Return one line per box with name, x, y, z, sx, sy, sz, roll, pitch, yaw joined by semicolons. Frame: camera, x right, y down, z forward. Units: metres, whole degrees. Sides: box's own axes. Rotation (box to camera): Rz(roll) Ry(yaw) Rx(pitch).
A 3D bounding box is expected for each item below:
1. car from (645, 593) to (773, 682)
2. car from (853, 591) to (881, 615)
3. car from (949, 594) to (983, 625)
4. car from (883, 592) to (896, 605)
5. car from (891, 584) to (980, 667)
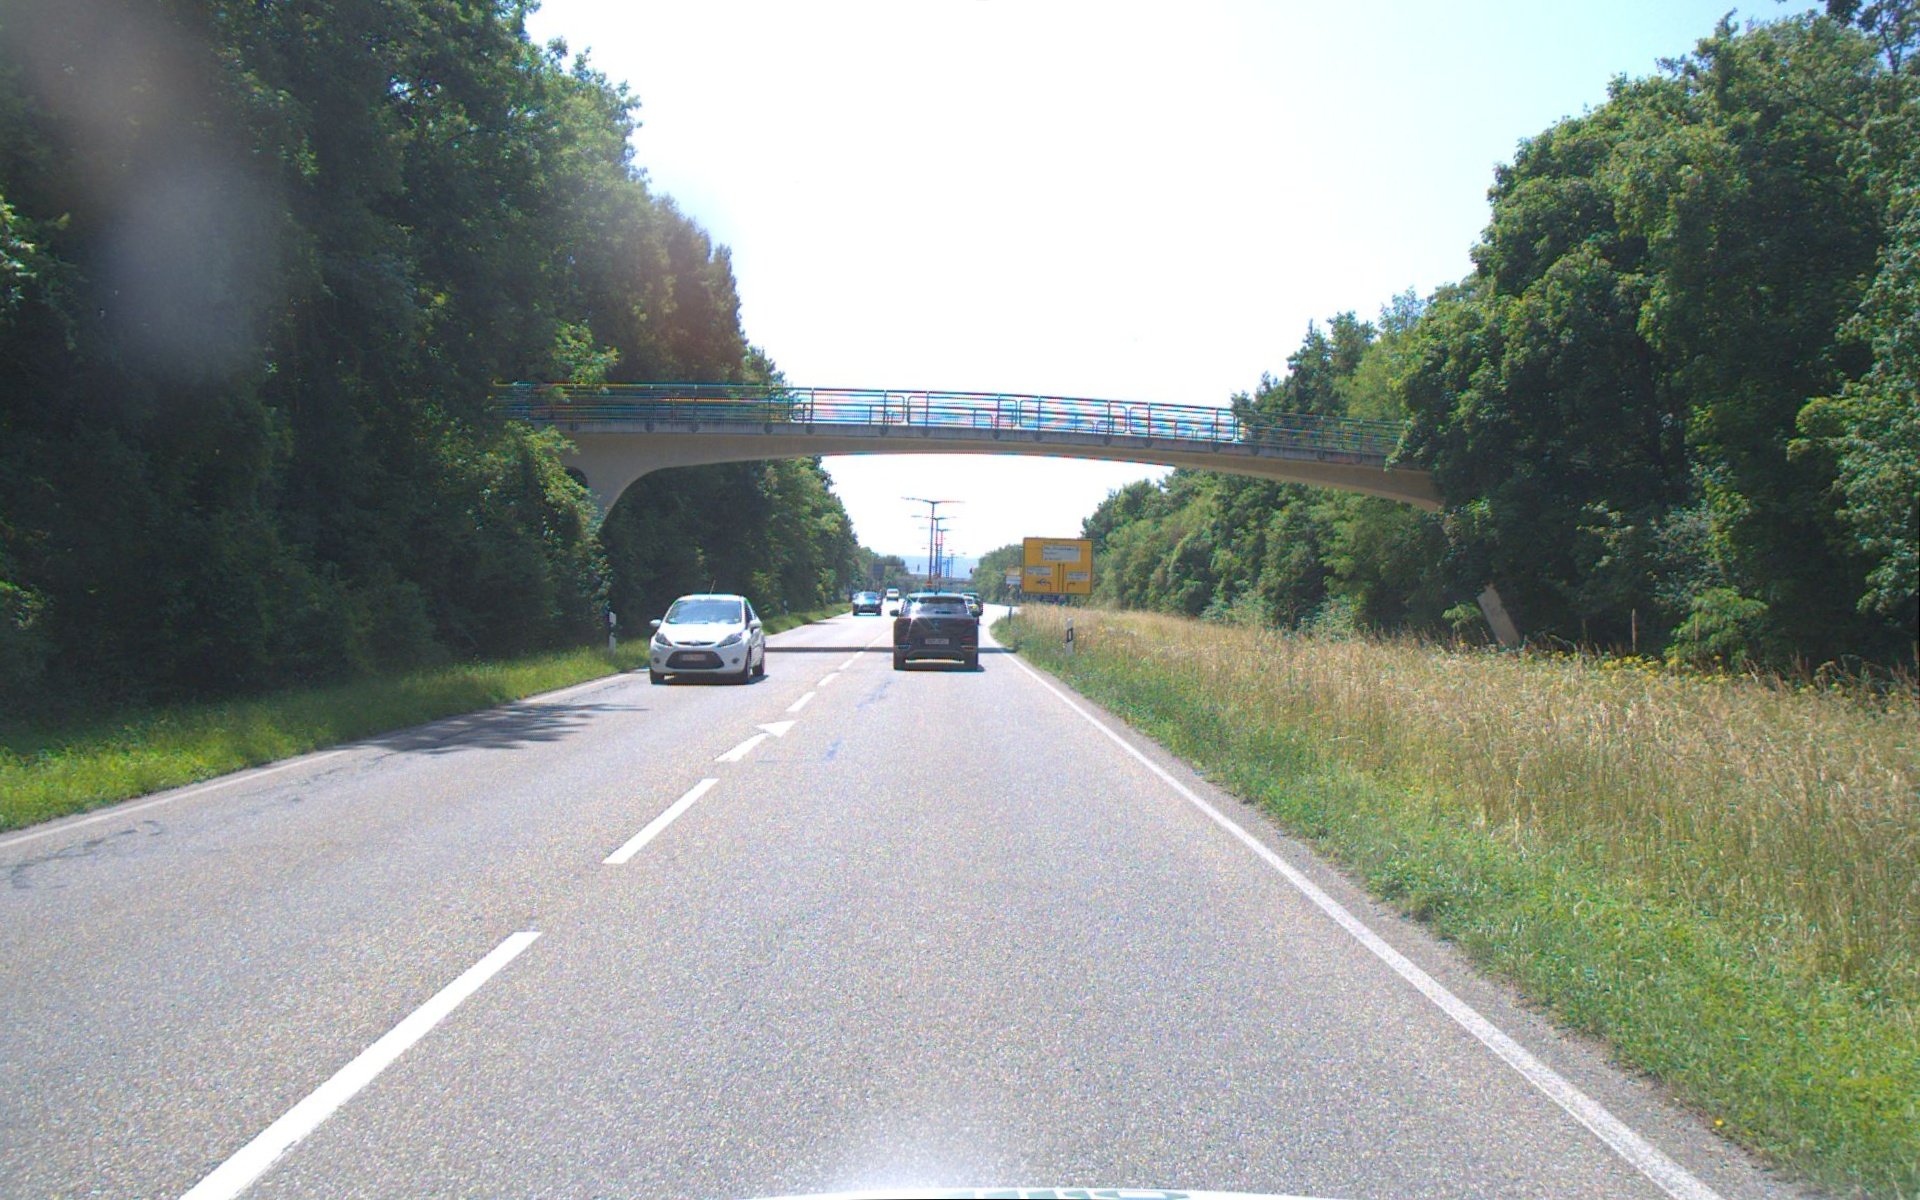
car;-4.300;0.604;28.865;1.643;1.458;3.772;0;0;0
car;-6.515;0.207;116.416;1.786;1.618;4.418;0;0;-1
car;0.336;0.487;86.506;1.760;1.611;4.000;0;0;1
car;-9.596;-0.255;225.921;1.696;1.717;4.094;0;0;-1
car;-0.471;0.509;34.746;1.719;1.583;4.000;2;0;0
